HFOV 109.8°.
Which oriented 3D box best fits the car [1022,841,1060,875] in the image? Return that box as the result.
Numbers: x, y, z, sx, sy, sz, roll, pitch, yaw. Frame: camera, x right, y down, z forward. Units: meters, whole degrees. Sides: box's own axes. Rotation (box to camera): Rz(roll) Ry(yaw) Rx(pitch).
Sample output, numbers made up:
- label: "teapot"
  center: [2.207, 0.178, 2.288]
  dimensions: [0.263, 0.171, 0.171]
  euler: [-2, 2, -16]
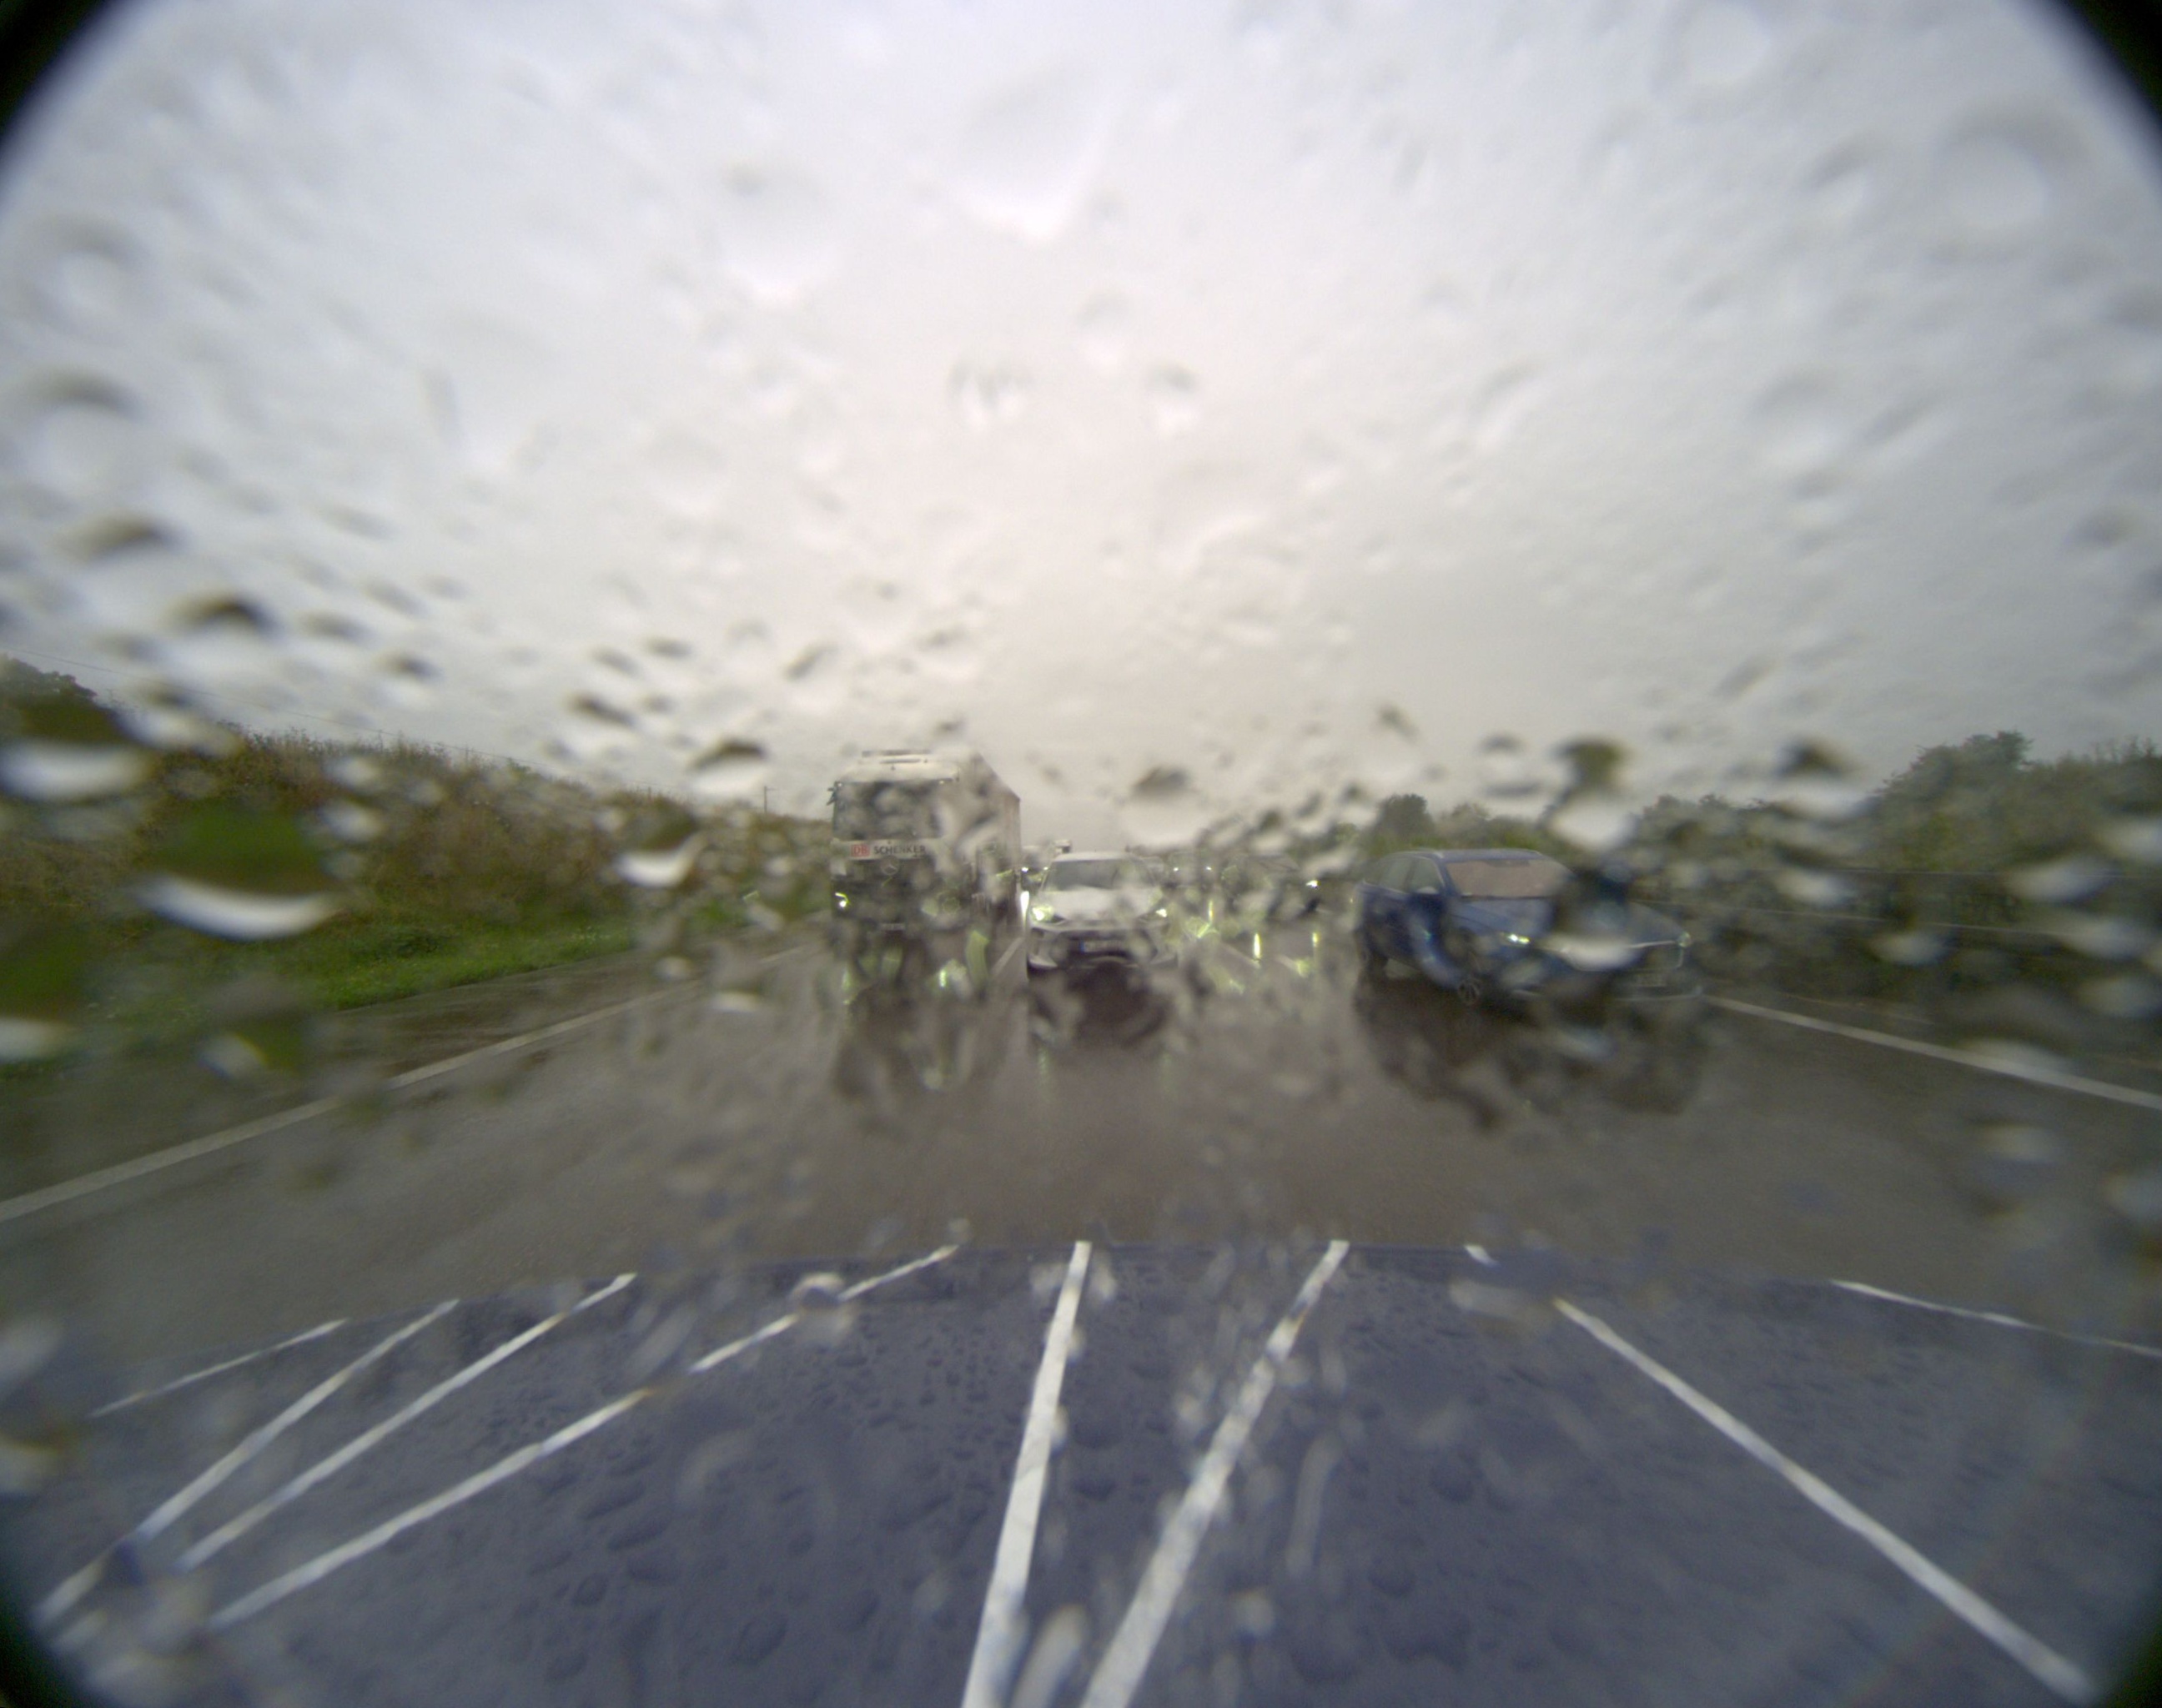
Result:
- label: "car"
  center: [-2.493, 0.191, 48.352]
  dimensions: [1.946, 2.002, 4.446]
  euler: [-2, 1, 2]

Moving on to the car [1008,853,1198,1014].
- label: "car"
  center: [0.236, 0.815, 9.786]
  dimensions: [1.893, 1.578, 4.000]
  euler: [-2, 0, 0]

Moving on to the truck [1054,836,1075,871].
- label: "truck"
  center: [-2.302, -0.100, 104.982]
  dimensions: [2.628, 4.635, 4.290]
  euler: [-2, 0, 1]

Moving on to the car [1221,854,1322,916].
- label: "car"
  center: [4.963, 0.752, 20.385]
  dimensions: [1.613, 1.428, 4.370]
  euler: [-2, 0, 0]

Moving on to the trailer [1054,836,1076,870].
- label: "trailer"
  center: [-2.246, -0.075, 110.168]
  dimensions: [2.628, 4.635, 9.221]
  euler: [-2, 0, 1]

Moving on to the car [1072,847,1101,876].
- label: "car"
  center: [0.457, 0.503, 55.870]
  dimensions: [1.998, 2.002, 4.000]
  euler: [-2, 0, 1]

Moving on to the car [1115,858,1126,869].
- label: "car"
  center: [5.697, 1.351, 109.944]
  dimensions: [1.458, 1.540, 2.804]
  euler: [0, 2, 1]

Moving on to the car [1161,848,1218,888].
- label: "car"
  center: [4.789, 0.591, 33.948]
  dimensions: [1.889, 1.622, 4.269]
  euler: [-2, 0, 0]

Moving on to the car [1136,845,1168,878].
- label: "car"
  center: [4.601, 0.470, 49.898]
  dimensions: [1.888, 2.002, 4.270]
  euler: [-2, 0, 3]

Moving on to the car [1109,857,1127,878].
- label: "car"
  center: [3.865, 1.384, 80.034]
  dimensions: [1.737, 2.002, 4.223]
  euler: [-2, 0, 0]

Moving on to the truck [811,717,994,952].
- label: "truck"
  center: [-3.568, -0.390, 16.507]
  dimensions: [2.633, 4.229, 5.042]
  euler: [-2, 1, 0]

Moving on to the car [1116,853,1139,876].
- label: "car"
  center: [4.204, 0.924, 69.252]
  dimensions: [1.737, 2.002, 4.223]
  euler: [-2, 0, 0]

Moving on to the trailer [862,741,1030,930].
- label: "trailer"
  center: [-3.562, -0.492, 24.478]
  dimensions: [2.633, 4.224, 14.174]
  euler: [-2, 1, 0]

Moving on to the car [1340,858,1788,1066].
- label: "car"
  center: [4.372, 0.815, 7.918]
  dimensions: [1.791, 1.467, 4.511]
  euler: [-2, 0, 0]

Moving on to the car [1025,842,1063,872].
- label: "car"
  center: [-2.604, 0.150, 54.786]
  dimensions: [2.260, 2.002, 4.269]
  euler: [-2, 1, 3]

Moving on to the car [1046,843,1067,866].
- label: "car"
  center: [-2.493, 0.020, 78.243]
  dimensions: [1.998, 2.231, 4.000]
  euler: [-2, 0, 0]
